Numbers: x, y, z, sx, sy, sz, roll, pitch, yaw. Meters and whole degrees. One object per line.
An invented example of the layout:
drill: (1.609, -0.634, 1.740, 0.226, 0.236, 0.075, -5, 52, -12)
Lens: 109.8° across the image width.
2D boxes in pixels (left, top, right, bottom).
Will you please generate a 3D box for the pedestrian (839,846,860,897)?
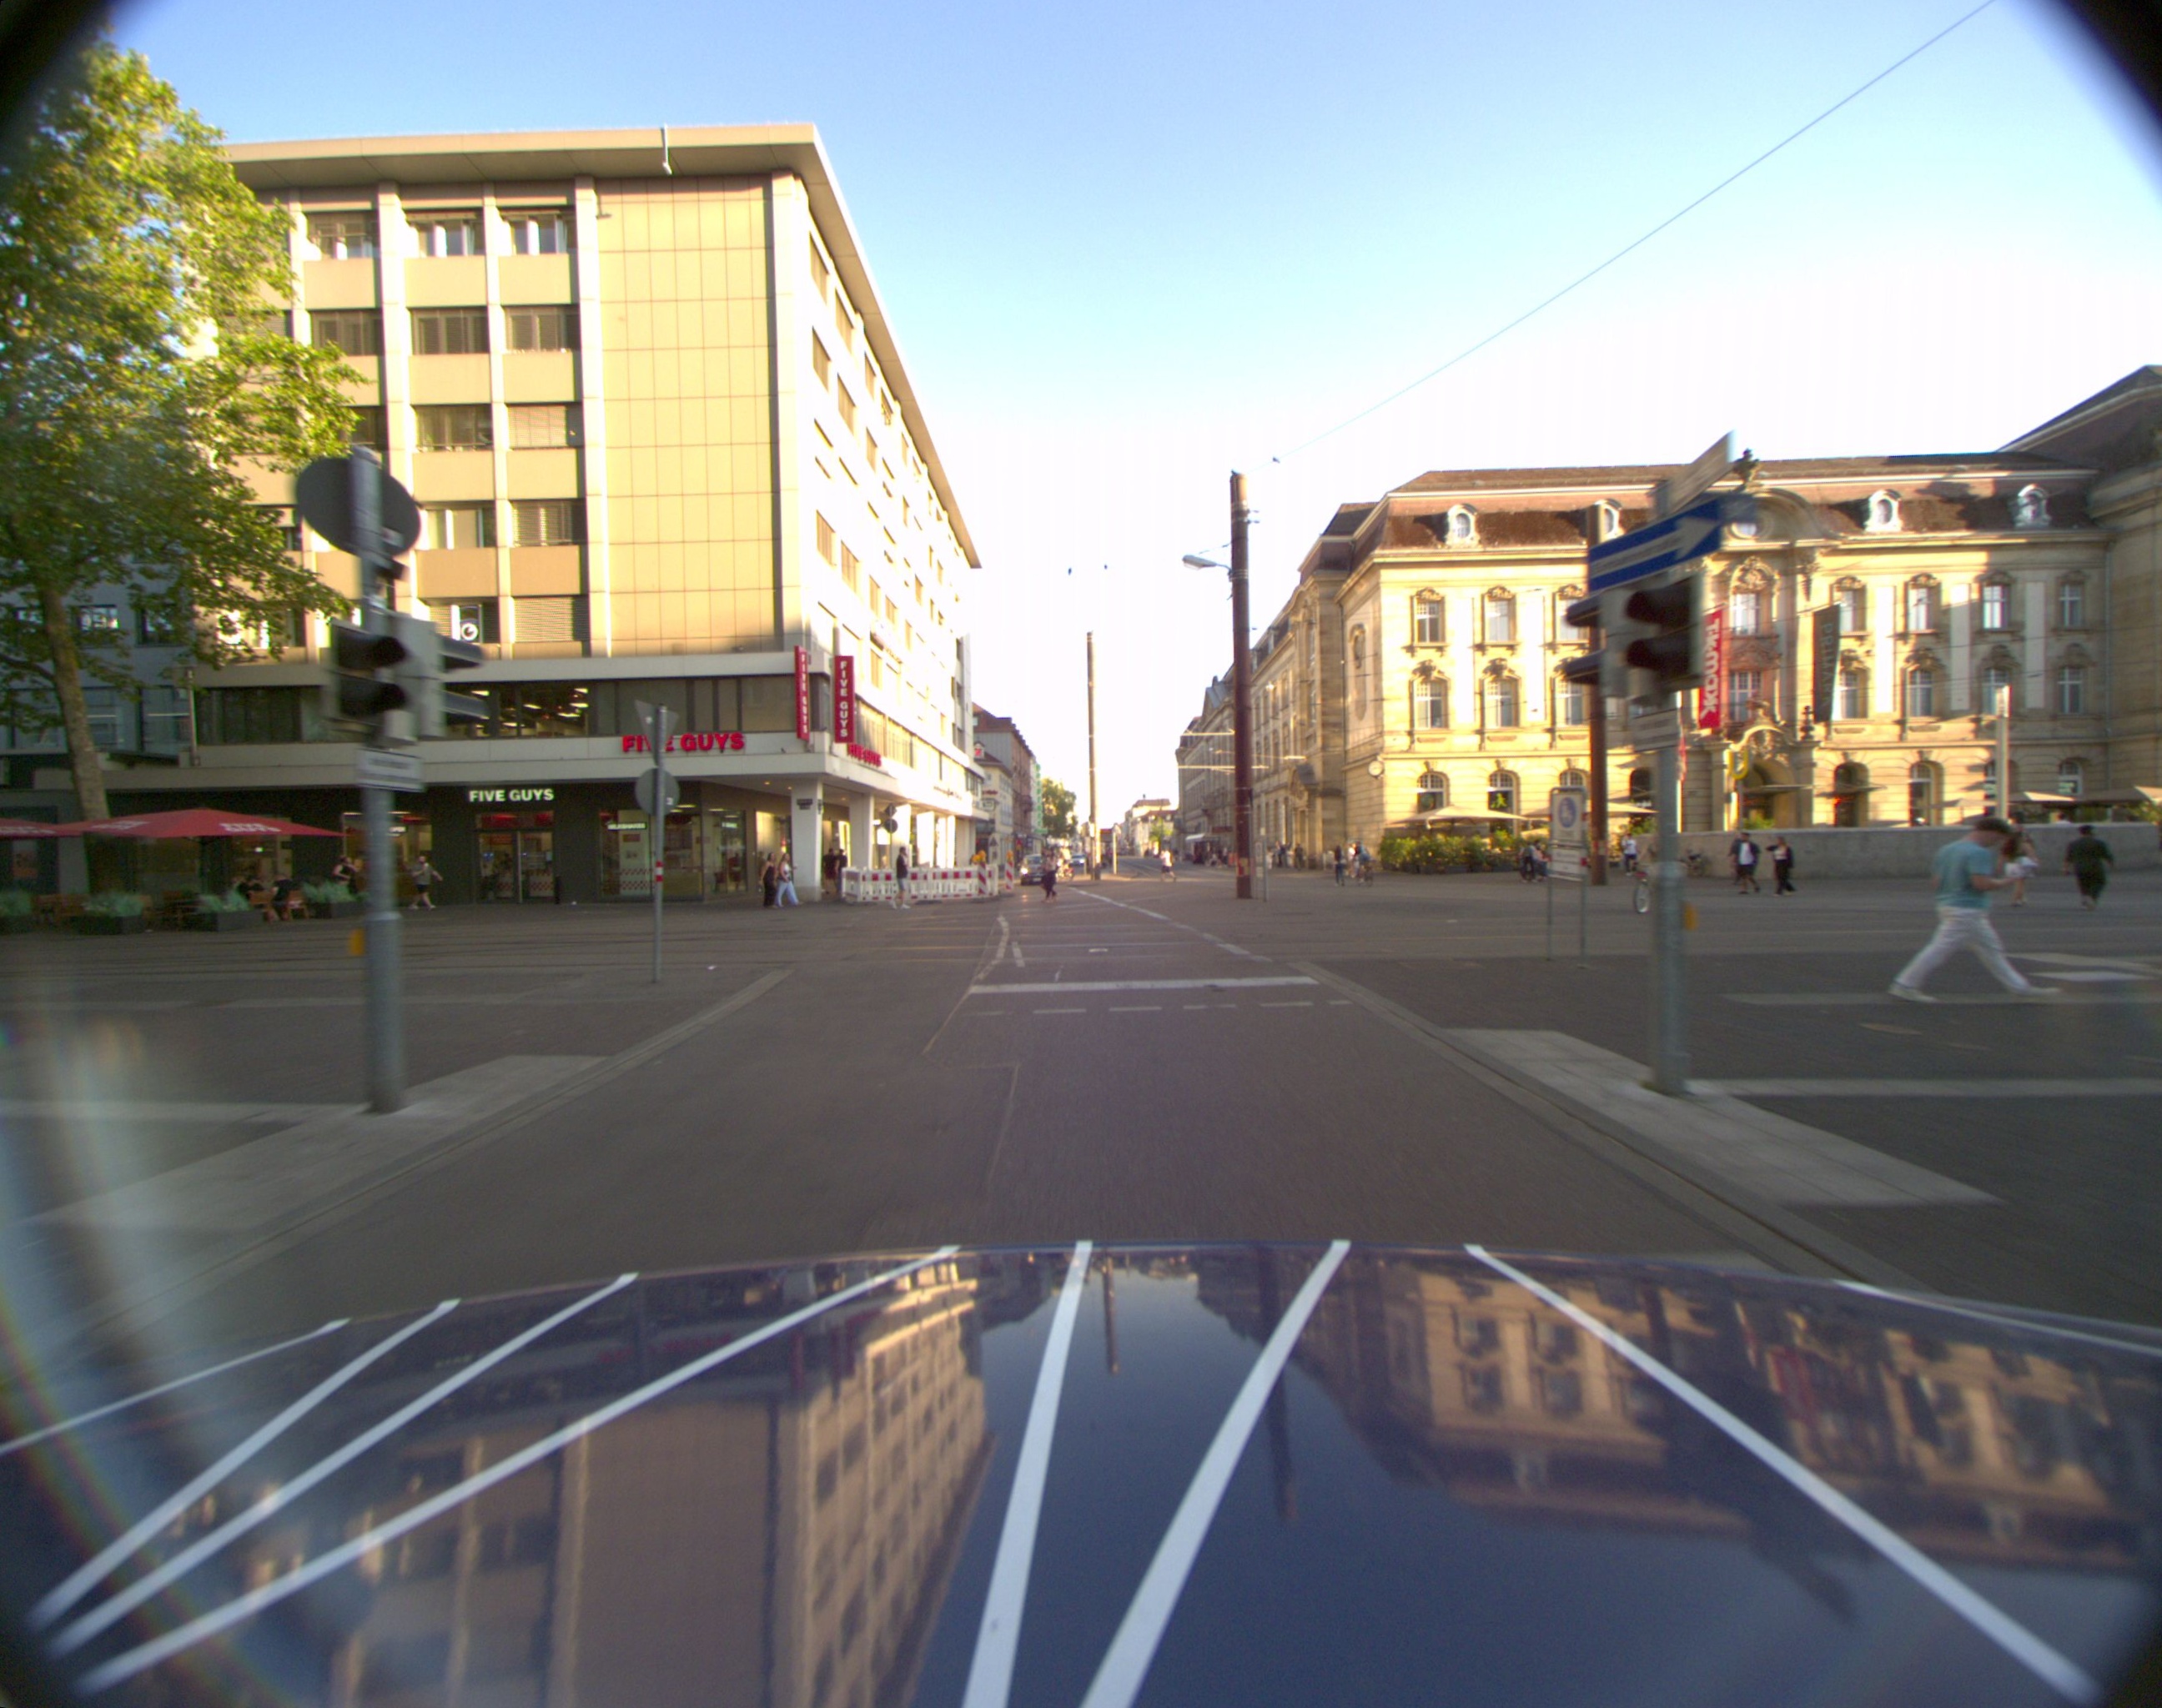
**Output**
pedestrian: (-9.385, 0.696, 30.770, 0.708, 2.002, 0.470, -3, 1, -16)

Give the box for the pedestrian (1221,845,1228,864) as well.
pedestrian: (12.247, 0.031, 64.714, 0.519, 1.636, 0.638, -2, 2, 5)

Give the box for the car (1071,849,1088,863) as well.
car: (-0.125, 0.244, 90.442, 1.810, 1.474, 4.283, -4, 0, 1)

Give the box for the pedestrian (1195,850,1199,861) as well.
pedestrian: (11.870, 0.188, 77.985, 0.365, 1.096, 0.430, -2, 1, 7)

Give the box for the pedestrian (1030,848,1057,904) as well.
pedestrian: (-1.156, 0.680, 23.611, 0.746, 1.690, 0.609, -1, 1, -8)

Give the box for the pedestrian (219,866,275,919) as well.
pedestrian: (-22.610, 1.032, 20.607, 0.644, 1.361, 0.690, -3, 1, 1)

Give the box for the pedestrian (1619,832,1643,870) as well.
pedestrian: (24.613, -0.137, 34.000, 0.498, 1.696, 0.720, -3, 2, -5)

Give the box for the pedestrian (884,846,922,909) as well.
pedestrian: (-5.127, 0.670, 21.943, 0.669, 1.759, 0.725, -2, 1, 35)

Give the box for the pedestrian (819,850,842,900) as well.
pedestrian: (-10.190, 0.850, 30.875, 0.782, 2.002, 0.516, -3, 1, -19)

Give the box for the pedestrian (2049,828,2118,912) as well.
pedestrian: (20.413, 0.325, 15.482, 0.530, 1.664, 0.651, -1, 1, 2)

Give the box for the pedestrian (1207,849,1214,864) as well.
pedestrian: (11.527, 0.191, 67.419, 0.519, 1.320, 0.638, -2, 1, 5)

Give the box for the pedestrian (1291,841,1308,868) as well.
pedestrian: (13.625, 0.020, 47.381, 0.690, 1.619, 0.972, -2, 1, 0)

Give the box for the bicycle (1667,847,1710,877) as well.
bicycle: (23.367, 0.295, 29.259, 0.450, 1.079, 1.581, -3, 1, 4)

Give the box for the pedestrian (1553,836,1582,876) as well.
pedestrian: (19.793, 0.069, 30.892, 0.773, 1.605, 0.666, -2, 1, -24)

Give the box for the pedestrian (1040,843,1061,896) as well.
pedestrian: (-0.932, 0.461, 23.063, 0.571, 1.584, 0.448, -1, 1, -5)

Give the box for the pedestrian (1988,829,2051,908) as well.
pedestrian: (20.165, 0.309, 16.336, 0.530, 1.664, 0.651, -1, 1, 2)

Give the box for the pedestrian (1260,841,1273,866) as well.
pedestrian: (12.342, -0.042, 50.589, 0.701, 1.605, 0.630, -3, 1, 0)

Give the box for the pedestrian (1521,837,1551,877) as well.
pedestrian: (18.363, 0.121, 30.662, 0.824, 1.605, 0.692, -2, 1, -24)

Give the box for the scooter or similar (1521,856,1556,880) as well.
scooter or similar: (17.846, 0.531, 29.651, 1.099, 0.899, 0.888, -2, 1, -43)

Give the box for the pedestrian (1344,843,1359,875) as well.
pedestrian: (13.129, 0.244, 36.914, 0.501, 1.516, 0.528, -1, 1, 39)

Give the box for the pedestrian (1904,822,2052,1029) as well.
pedestrian: (8.232, 0.602, 7.018, 0.765, 1.751, 0.870, -1, 2, 43)

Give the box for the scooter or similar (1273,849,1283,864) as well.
scooter or similar: (15.382, 0.183, 59.262, 0.488, 1.175, 1.293, -3, 1, 3)

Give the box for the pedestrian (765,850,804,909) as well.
pedestrian: (-9.053, 0.772, 23.227, 0.790, 1.725, 0.772, -3, 1, 1)

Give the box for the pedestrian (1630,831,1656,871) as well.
pedestrian: (23.858, -0.128, 32.267, 0.499, 1.696, 0.719, -3, 2, -16)

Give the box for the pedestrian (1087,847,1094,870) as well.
pedestrian: (0.667, 0.303, 54.067, 0.357, 1.632, 0.502, -3, 1, -1)

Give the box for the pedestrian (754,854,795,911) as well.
pedestrian: (-9.044, 0.840, 22.451, 0.826, 1.621, 0.713, -3, 1, 1)

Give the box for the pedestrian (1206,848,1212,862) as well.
pedestrian: (12.084, 0.059, 71.640, 0.519, 1.320, 0.638, -2, 1, 5)

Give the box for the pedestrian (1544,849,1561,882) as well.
pedestrian: (17.822, 0.447, 28.743, 0.484, 1.236, 0.413, -1, 1, 25)

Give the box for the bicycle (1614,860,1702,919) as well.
bicycle: (12.290, 0.727, 16.175, 1.921, 1.109, 0.699, -3, 1, -26)

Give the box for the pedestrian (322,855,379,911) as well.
pedestrian: (-22.866, 0.886, 23.801, 0.840, 1.684, 0.841, -3, 1, 2)

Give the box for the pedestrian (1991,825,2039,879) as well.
pedestrian: (29.744, -0.058, 24.202, 0.715, 1.664, 0.651, -1, 1, 2)

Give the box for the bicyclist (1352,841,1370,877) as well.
bicyclist: (11.147, 0.195, 30.233, 0.422, 1.419, 0.563, -3, 1, -6)

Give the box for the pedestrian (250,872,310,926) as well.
pedestrian: (-21.605, 1.209, 20.505, 0.778, 1.361, 0.690, -3, 1, 1)

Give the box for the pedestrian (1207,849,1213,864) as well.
pedestrian: (11.569, 0.181, 68.178, 0.519, 1.320, 0.638, -2, 1, 5)

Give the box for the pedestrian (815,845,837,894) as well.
pedestrian: (-10.579, 0.638, 31.513, 0.705, 2.002, 0.472, -2, 2, 43)

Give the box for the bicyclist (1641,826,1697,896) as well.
bicyclist: (12.667, 0.144, 16.380, 0.875, 1.457, 0.598, -3, 1, -25)

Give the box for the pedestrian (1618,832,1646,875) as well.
pedestrian: (22.169, -0.031, 30.595, 0.499, 1.696, 0.719, -3, 2, -16)

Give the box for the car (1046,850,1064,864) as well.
car: (-3.049, 0.375, 90.746, 1.810, 1.474, 4.778, -4, 0, 1)

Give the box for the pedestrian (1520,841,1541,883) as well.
pedestrian: (17.250, 0.301, 29.154, 0.649, 1.564, 0.481, -1, 1, 30)

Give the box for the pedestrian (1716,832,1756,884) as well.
pedestrian: (21.333, 0.120, 24.762, 0.715, 1.664, 0.651, -1, 1, 2)

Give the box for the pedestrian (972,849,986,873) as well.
pedestrian: (-7.300, 0.492, 54.340, 0.702, 1.683, 0.540, -3, 1, -34)

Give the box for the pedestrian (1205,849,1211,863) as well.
pedestrian: (11.527, 0.173, 68.979, 0.519, 1.320, 0.638, -2, 1, 5)

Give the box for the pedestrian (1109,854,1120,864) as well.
pedestrian: (3.253, 0.460, 73.630, 0.799, 0.934, 0.694, -2, 1, 24)

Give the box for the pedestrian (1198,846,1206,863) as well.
pedestrian: (11.764, 0.045, 73.774, 0.518, 1.641, 0.639, -1, 2, 23)

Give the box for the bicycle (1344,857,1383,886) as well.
bicycle: (11.198, 0.668, 30.171, 0.574, 1.092, 2.021, -3, 1, -6)

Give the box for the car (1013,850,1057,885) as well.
car: (-2.197, 0.622, 37.142, 1.738, 1.495, 4.000, -3, 1, 2)

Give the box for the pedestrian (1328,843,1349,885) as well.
pedestrian: (10.331, 0.399, 30.511, 0.649, 1.664, 0.531, -1, 1, 33)

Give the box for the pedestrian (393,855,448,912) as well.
pedestrian: (-20.236, 0.897, 23.281, 0.840, 1.684, 0.841, -3, 1, 2)

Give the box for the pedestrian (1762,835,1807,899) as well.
pedestrian: (18.887, 0.346, 20.415, 0.529, 1.664, 0.754, -1, 1, 8)

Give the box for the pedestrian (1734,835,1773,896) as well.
pedestrian: (18.937, 0.318, 21.399, 0.529, 1.664, 0.651, -1, 1, 8)

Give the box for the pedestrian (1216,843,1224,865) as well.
pedestrian: (11.190, -0.021, 61.181, 0.467, 1.766, 0.562, -1, 1, 28)

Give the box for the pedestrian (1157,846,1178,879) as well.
pedestrian: (4.343, 0.426, 38.095, 0.804, 1.619, 0.834, -2, 1, -11)

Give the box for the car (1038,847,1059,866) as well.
car: (-3.572, 0.212, 84.246, 1.881, 1.912, 4.699, -4, 1, 1)

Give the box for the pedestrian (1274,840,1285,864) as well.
pedestrian: (14.578, -0.159, 55.815, 0.622, 1.766, 0.706, -2, 1, -2)

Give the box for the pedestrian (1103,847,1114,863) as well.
pedestrian: (2.863, 0.102, 78.678, 0.686, 1.628, 0.863, -1, 1, 42)
